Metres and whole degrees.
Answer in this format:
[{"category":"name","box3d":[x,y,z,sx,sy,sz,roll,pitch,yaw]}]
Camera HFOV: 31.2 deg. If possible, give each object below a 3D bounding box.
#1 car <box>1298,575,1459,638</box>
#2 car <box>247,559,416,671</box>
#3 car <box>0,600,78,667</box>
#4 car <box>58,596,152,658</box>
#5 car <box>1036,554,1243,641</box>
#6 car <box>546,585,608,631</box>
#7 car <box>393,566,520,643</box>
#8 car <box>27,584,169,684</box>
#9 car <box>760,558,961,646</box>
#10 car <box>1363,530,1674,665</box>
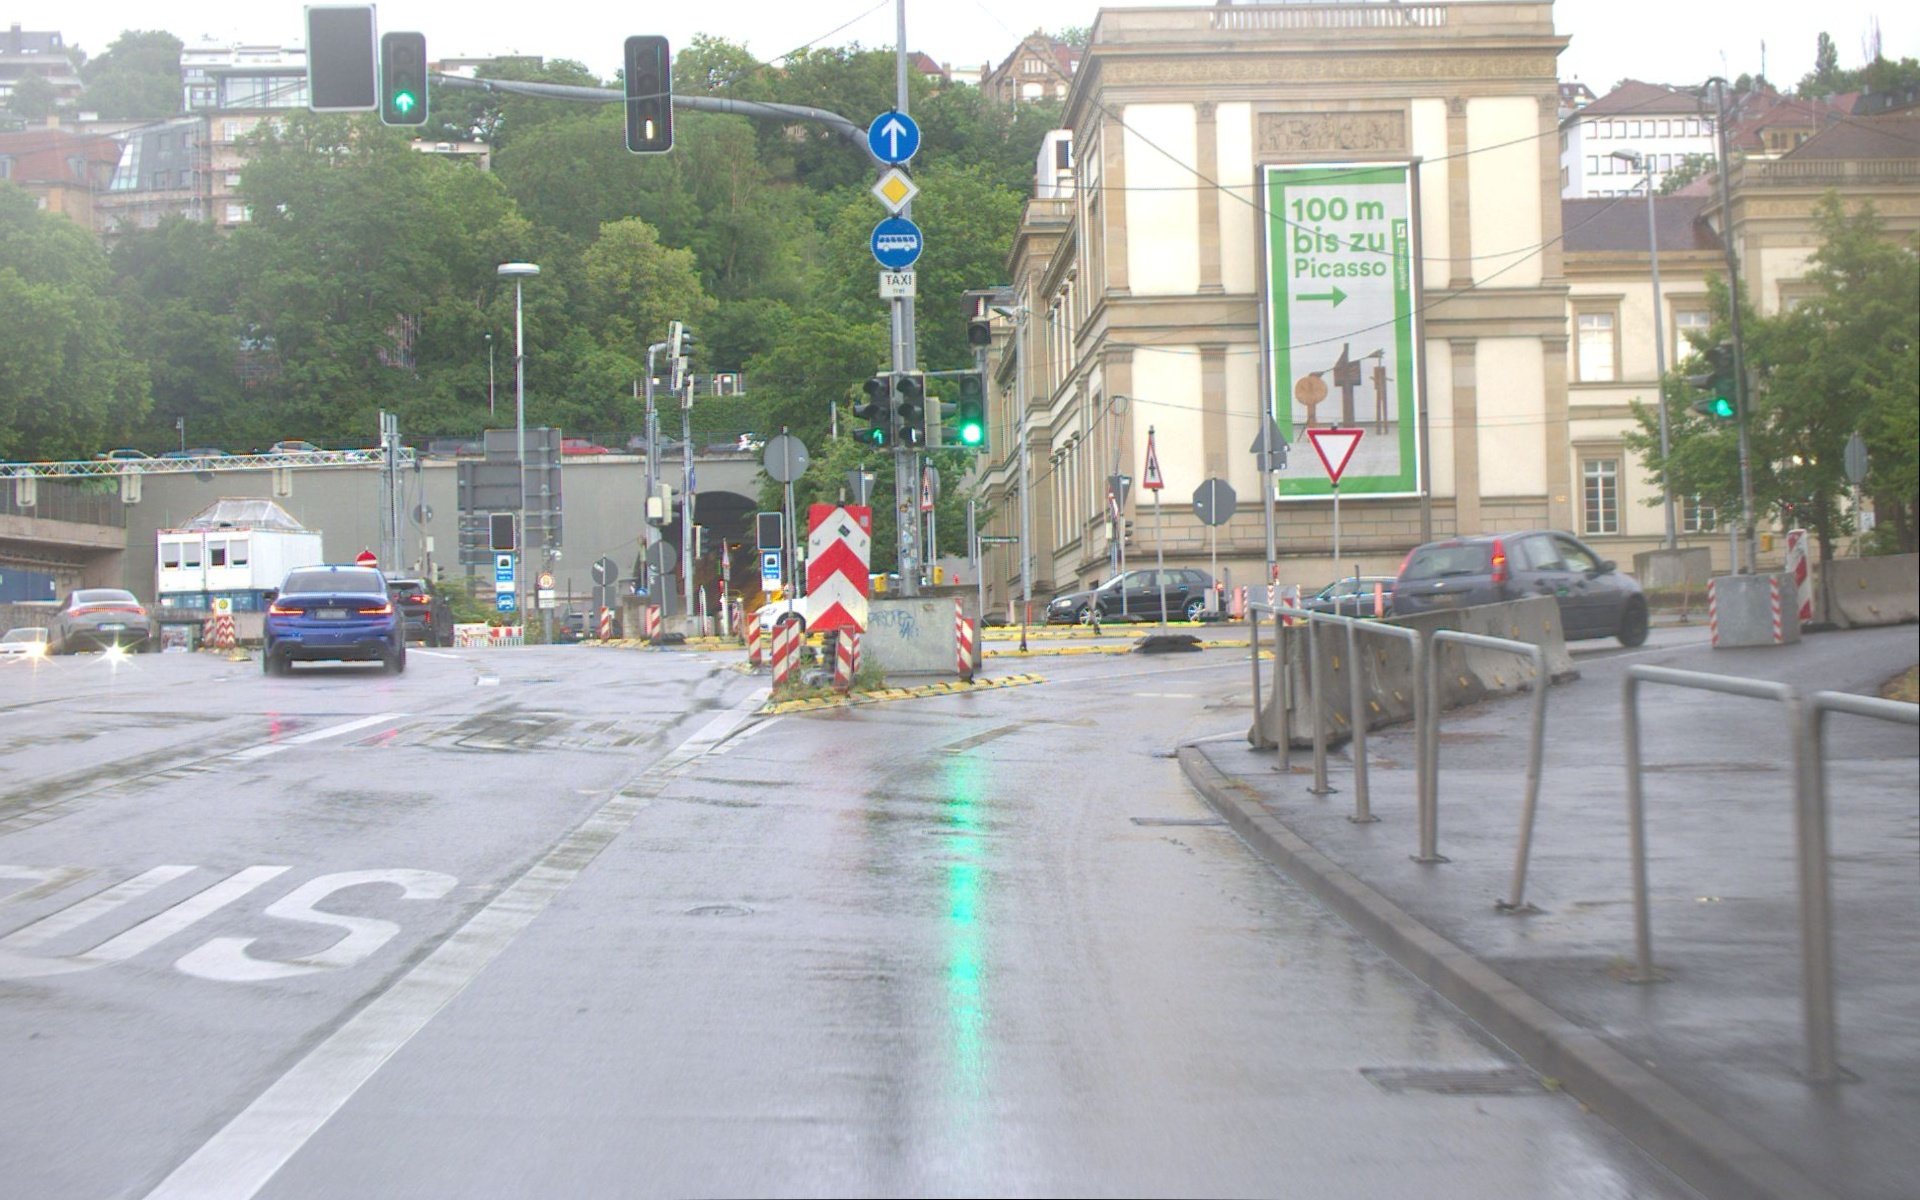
[{"category":"car","box3d":[11.476,0.175,94.367,4.180,1.695,1.823,0,1,0]},{"category":"car","box3d":[-8.422,0.182,46.349,1.993,1.433,4.001,0,0,-7]},{"category":"car","box3d":[-29.352,1.034,108.117,1.994,2.007,4.000,0,1,3]},{"category":"car","box3d":[-28.873,0.889,116.191,1.994,2.007,4.000,0,1,3]},{"category":"car","box3d":[4.220,-0.072,81.366,4.674,2.007,2.000,0,1,-5]},{"category":"car","box3d":[-11.960,0.250,107.514,1.493,1.349,4.000,1,1,0]},{"category":"car","box3d":[-11.299,0.074,77.398,1.994,1.628,3.999,1,1,4]},{"category":"car","box3d":[-18.636,0.699,74.218,1.993,2.007,4.295,-1,1,-28]},{"category":"car","box3d":[-2.358,0.037,80.722,4.625,2.007,2.000,0,1,-5]},{"category":"car","box3d":[6.359,-0.045,38.896,1.674,1.422,3.748,-2,0,42]}]
